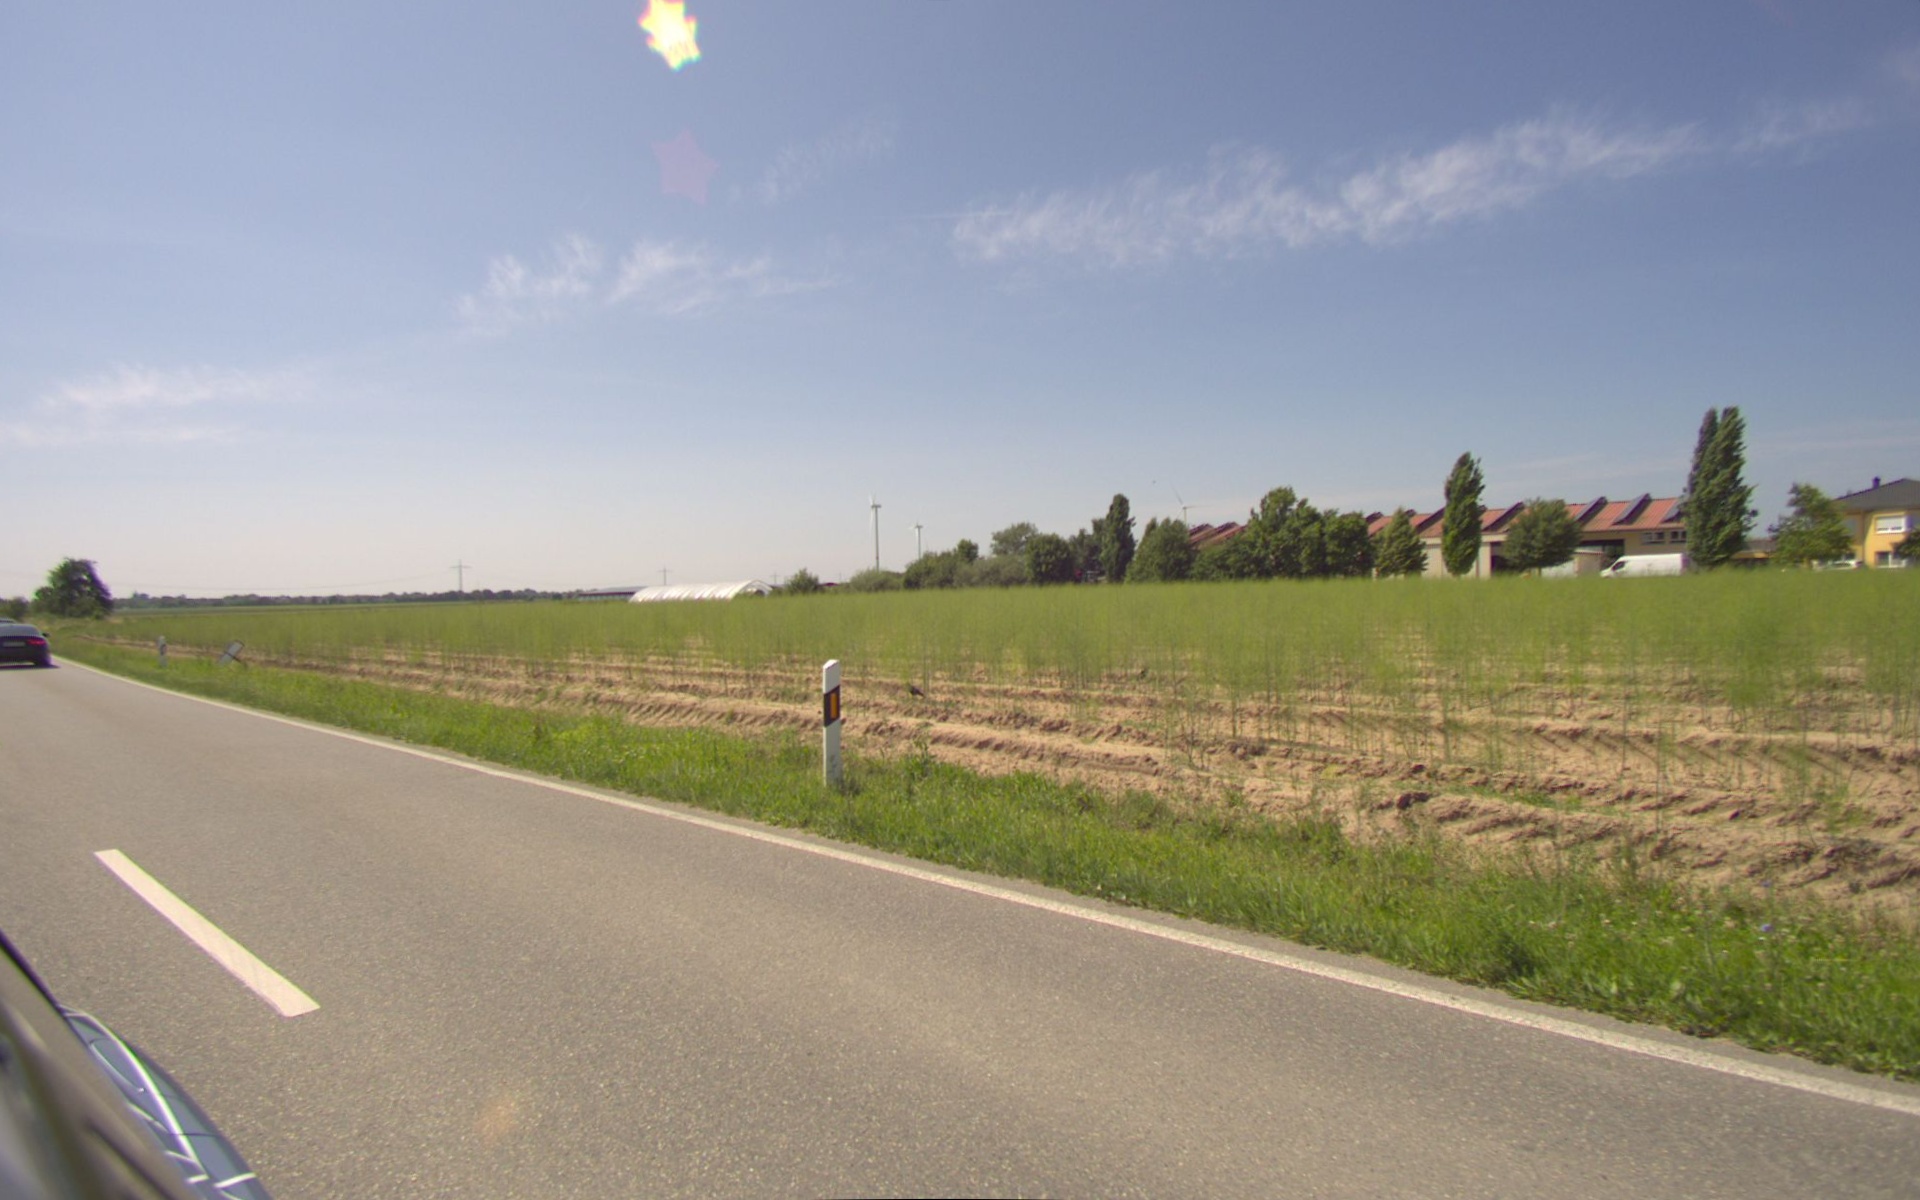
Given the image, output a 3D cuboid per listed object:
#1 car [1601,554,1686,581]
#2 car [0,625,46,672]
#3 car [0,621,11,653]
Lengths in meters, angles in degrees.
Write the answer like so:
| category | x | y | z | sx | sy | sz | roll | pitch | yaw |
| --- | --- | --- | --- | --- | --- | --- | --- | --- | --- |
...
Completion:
| category | x | y | z | sx | sy | sz | roll | pitch | yaw |
| --- | --- | --- | --- | --- | --- | --- | --- | --- | --- |
| car | 56.153 | -2.641 | 83.182 | 1.844 | 2.077 | 5.508 | -3 | 2 | -44 |
| car | -29.918 | 1.498 | 31.618 | 4.419 | 1.367 | 1.722 | -1 | -1 | 44 |
| car | -48.467 | 1.834 | 50.270 | 4.143 | 1.544 | 1.720 | -1 | 0 | 44 |
